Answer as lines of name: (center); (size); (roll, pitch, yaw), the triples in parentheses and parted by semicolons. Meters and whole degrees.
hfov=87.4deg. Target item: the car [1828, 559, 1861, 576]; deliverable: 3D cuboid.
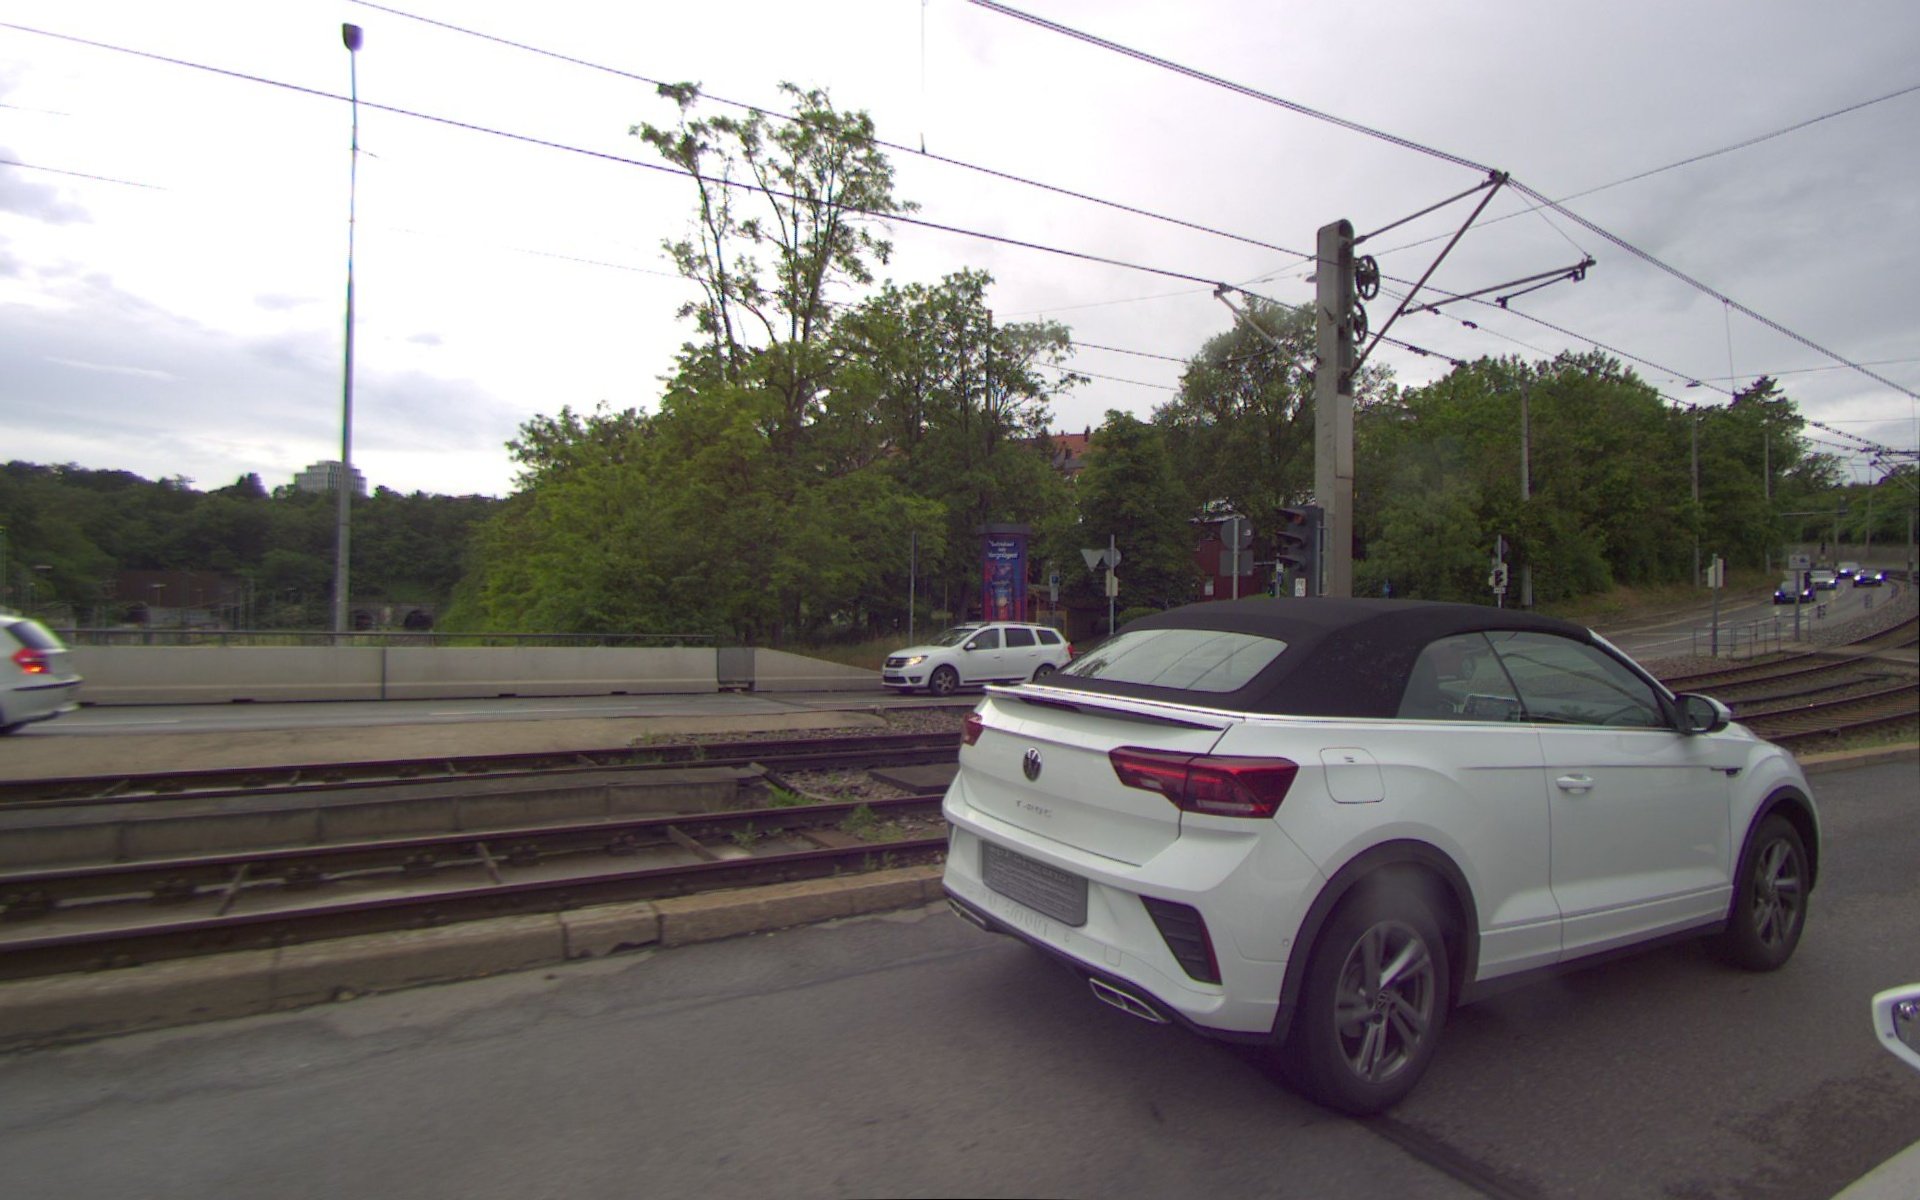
car: (87.054, -3.246, 98.896); (1.837, 1.457, 4.838); (-4, 0, 35)

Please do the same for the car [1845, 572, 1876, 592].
car: (72.924, -1.472, 81.356); (1.614, 1.402, 3.876); (-4, -1, 39)

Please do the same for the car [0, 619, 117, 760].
car: (-11.804, 0.919, 10.383); (4.440, 1.455, 1.722); (2, -3, -31)

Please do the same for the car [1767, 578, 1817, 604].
car: (53.815, -0.606, 64.935); (4.239, 1.478, 1.702); (-2, 0, -40)

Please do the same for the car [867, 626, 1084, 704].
car: (0.399, 1.340, 21.723); (4.482, 1.535, 1.810); (1, -2, -34)

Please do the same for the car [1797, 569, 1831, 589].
car: (68.564, -1.674, 80.721); (1.797, 1.398, 4.685); (-3, 1, 38)

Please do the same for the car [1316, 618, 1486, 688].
car: (11.254, 1.295, 25.508); (4.686, 1.618, 1.836); (0, -2, -36)

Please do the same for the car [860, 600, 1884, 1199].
car: (1.985, 0.793, 4.399); (4.488, 1.544, 1.862); (1, 0, -31)
